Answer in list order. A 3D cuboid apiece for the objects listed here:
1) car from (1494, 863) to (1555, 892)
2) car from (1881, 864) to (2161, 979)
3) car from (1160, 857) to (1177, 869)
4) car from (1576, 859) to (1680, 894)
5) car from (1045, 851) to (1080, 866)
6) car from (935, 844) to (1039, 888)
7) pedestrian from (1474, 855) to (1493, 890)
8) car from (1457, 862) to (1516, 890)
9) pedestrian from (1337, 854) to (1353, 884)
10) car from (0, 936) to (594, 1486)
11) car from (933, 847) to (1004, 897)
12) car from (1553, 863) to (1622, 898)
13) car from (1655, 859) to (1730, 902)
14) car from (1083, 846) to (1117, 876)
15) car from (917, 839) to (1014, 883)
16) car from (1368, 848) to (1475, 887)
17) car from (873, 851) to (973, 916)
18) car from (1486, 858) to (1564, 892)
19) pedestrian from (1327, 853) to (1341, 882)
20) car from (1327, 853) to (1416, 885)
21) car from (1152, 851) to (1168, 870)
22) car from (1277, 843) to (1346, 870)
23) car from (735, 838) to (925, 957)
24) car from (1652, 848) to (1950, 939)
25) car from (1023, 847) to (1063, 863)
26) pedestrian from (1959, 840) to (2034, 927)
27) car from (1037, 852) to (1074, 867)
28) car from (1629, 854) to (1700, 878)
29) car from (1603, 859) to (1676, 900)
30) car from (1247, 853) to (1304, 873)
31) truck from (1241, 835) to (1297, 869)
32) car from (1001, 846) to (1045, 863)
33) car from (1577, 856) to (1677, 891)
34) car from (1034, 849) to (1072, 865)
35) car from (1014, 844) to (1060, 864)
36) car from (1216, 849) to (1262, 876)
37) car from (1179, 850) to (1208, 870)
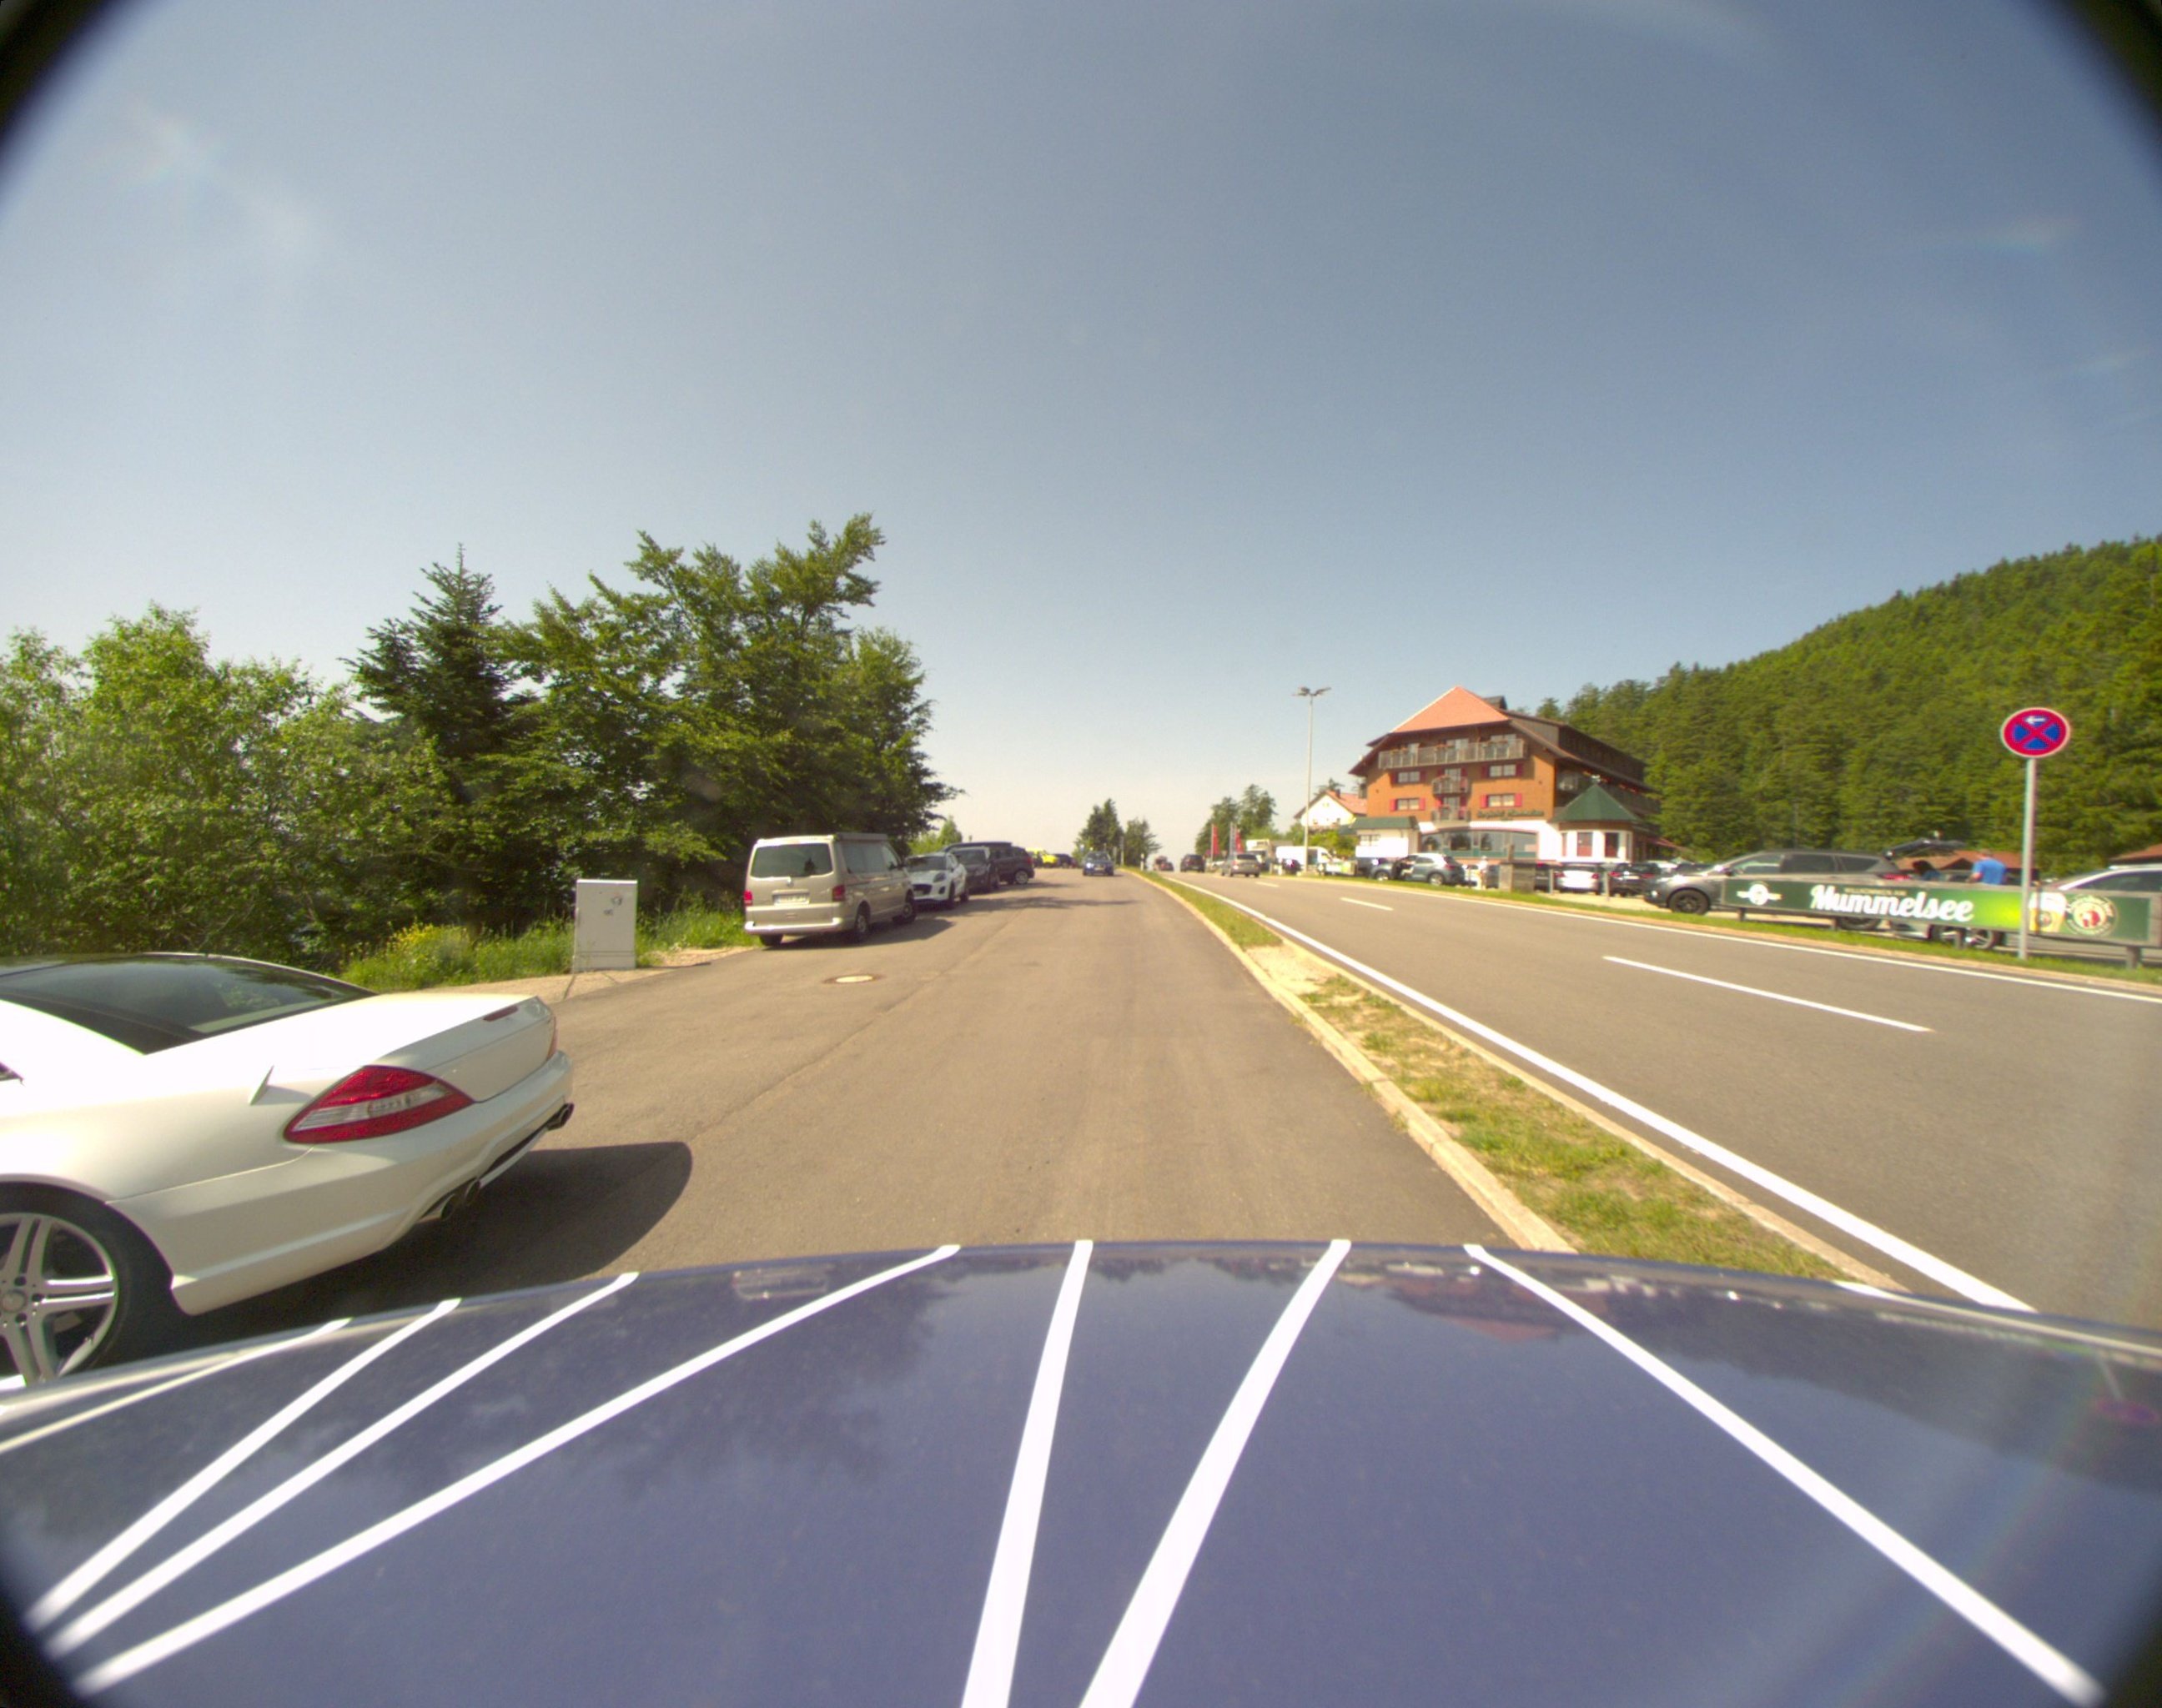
[{"bbox_3d":[24.788,1.271,42.433,4.104,1.504,1.818,1,1,-44],"label":"car"},{"bbox_3d":[14.665,0.934,10.738,4.488,1.422,1.726,2,1,43],"label":"car"},{"bbox_3d":[11.197,1.137,97.617,1.710,1.429,4.449,1,1,0],"label":"car"},{"bbox_3d":[28.052,1.110,39.035,4.082,1.619,1.828,2,1,44],"label":"car"},{"bbox_3d":[-2.179,0.503,88.537,3.909,1.605,1.877,1,1,3],"label":"car"},{"bbox_3d":[-3.975,0.488,32.074,4.003,1.609,1.873,-3,1,-19],"label":"car"},{"bbox_3d":[19.392,0.888,36.606,0.744,1.615,0.684,2,1,31],"label":"pedestrian"},{"bbox_3d":[24.017,1.270,44.981,4.104,1.504,1.818,1,1,-44],"label":"car"},{"bbox_3d":[17.766,1.028,51.138,0.717,2.002,0.802,0,1,0],"label":"pedestrian"},{"bbox_3d":[-4.490,1.172,2.563,4.414,1.288,1.753,-3,0,-16],"label":"car"},{"bbox_3d":[-3.985,0.589,27.573,1.875,1.609,3.999,-3,1,0],"label":"car"},{"bbox_3d":[24.155,1.219,36.188,4.104,1.504,1.818,1,1,-44],"label":"car"},{"bbox_3d":[25.143,1.039,31.205,4.104,1.619,1.818,1,1,-44],"label":"car"},{"bbox_3d":[1.102,0.367,44.391,1.875,1.605,3.912,1,1,1],"label":"car"},{"bbox_3d":[-5.753,0.305,37.739,4.463,1.914,1.873,-3,1,-19],"label":"car"},{"bbox_3d":[16.191,0.603,36.288,4.258,1.619,1.828,2,1,44],"label":"car"},{"bbox_3d":[-4.309,0.739,21.328,1.875,1.538,3.999,-3,1,0],"label":"car"},{"bbox_3d":[20.825,0.938,35.825,1.719,1.422,4.002,2,1,8],"label":"car"},{"bbox_3d":[17.873,0.963,53.746,0.717,2.002,0.802,0,1,0],"label":"pedestrian"},{"bbox_3d":[16.332,0.802,42.819,4.258,1.619,1.828,2,1,44],"label":"car"},{"bbox_3d":[12.250,0.970,118.202,2.016,2.735,5.917,1,1,2],"label":"car"},{"bbox_3d":[24.833,0.239,81.804,6.949,2.775,2.671,1,1,20],"label":"car"},{"bbox_3d":[-4.700,0.706,15.076,1.861,1.924,4.610,-3,1,4],"label":"car"},{"bbox_3d":[15.569,0.753,16.771,4.538,1.646,1.726,2,1,42],"label":"car"},{"bbox_3d":[-3.951,0.109,78.955,3.909,1.605,1.877,1,1,3],"label":"car"},{"bbox_3d":[17.724,0.547,14.733,0.744,1.626,0.849,2,2,41],"label":"pedestrian"},{"bbox_3d":[-2.810,0.583,84.481,3.909,1.605,1.877,1,1,3],"label":"car"},{"bbox_3d":[45.497,0.940,59.301,4.082,1.706,1.924,2,1,45],"label":"car"},{"bbox_3d":[24.351,1.058,33.060,4.104,1.619,1.818,1,1,-44],"label":"car"},{"bbox_3d":[16.048,0.716,62.765,4.082,1.518,1.828,2,1,40],"label":"car"},{"bbox_3d":[22.240,-0.205,89.327,2.876,3.798,9.037,-1,0,39],"label":"truck"},{"bbox_3d":[-5.563,0.041,73.134,3.909,1.605,1.877,1,1,3],"label":"car"},{"bbox_3d":[29.349,1.009,40.920,4.082,1.619,1.828,2,1,44],"label":"car"},{"bbox_3d":[-2.974,0.352,81.692,3.909,1.605,1.877,1,1,3],"label":"car"},{"bbox_3d":[-4.366,-0.032,75.841,4.456,1.914,1.876,1,1,3],"label":"car"},{"bbox_3d":[9.521,0.483,46.056,1.884,1.466,4.714,-1,1,1],"label":"car"},{"bbox_3d":[10.032,0.530,67.933,1.998,1.638,4.567,1,1,1],"label":"car"}]
